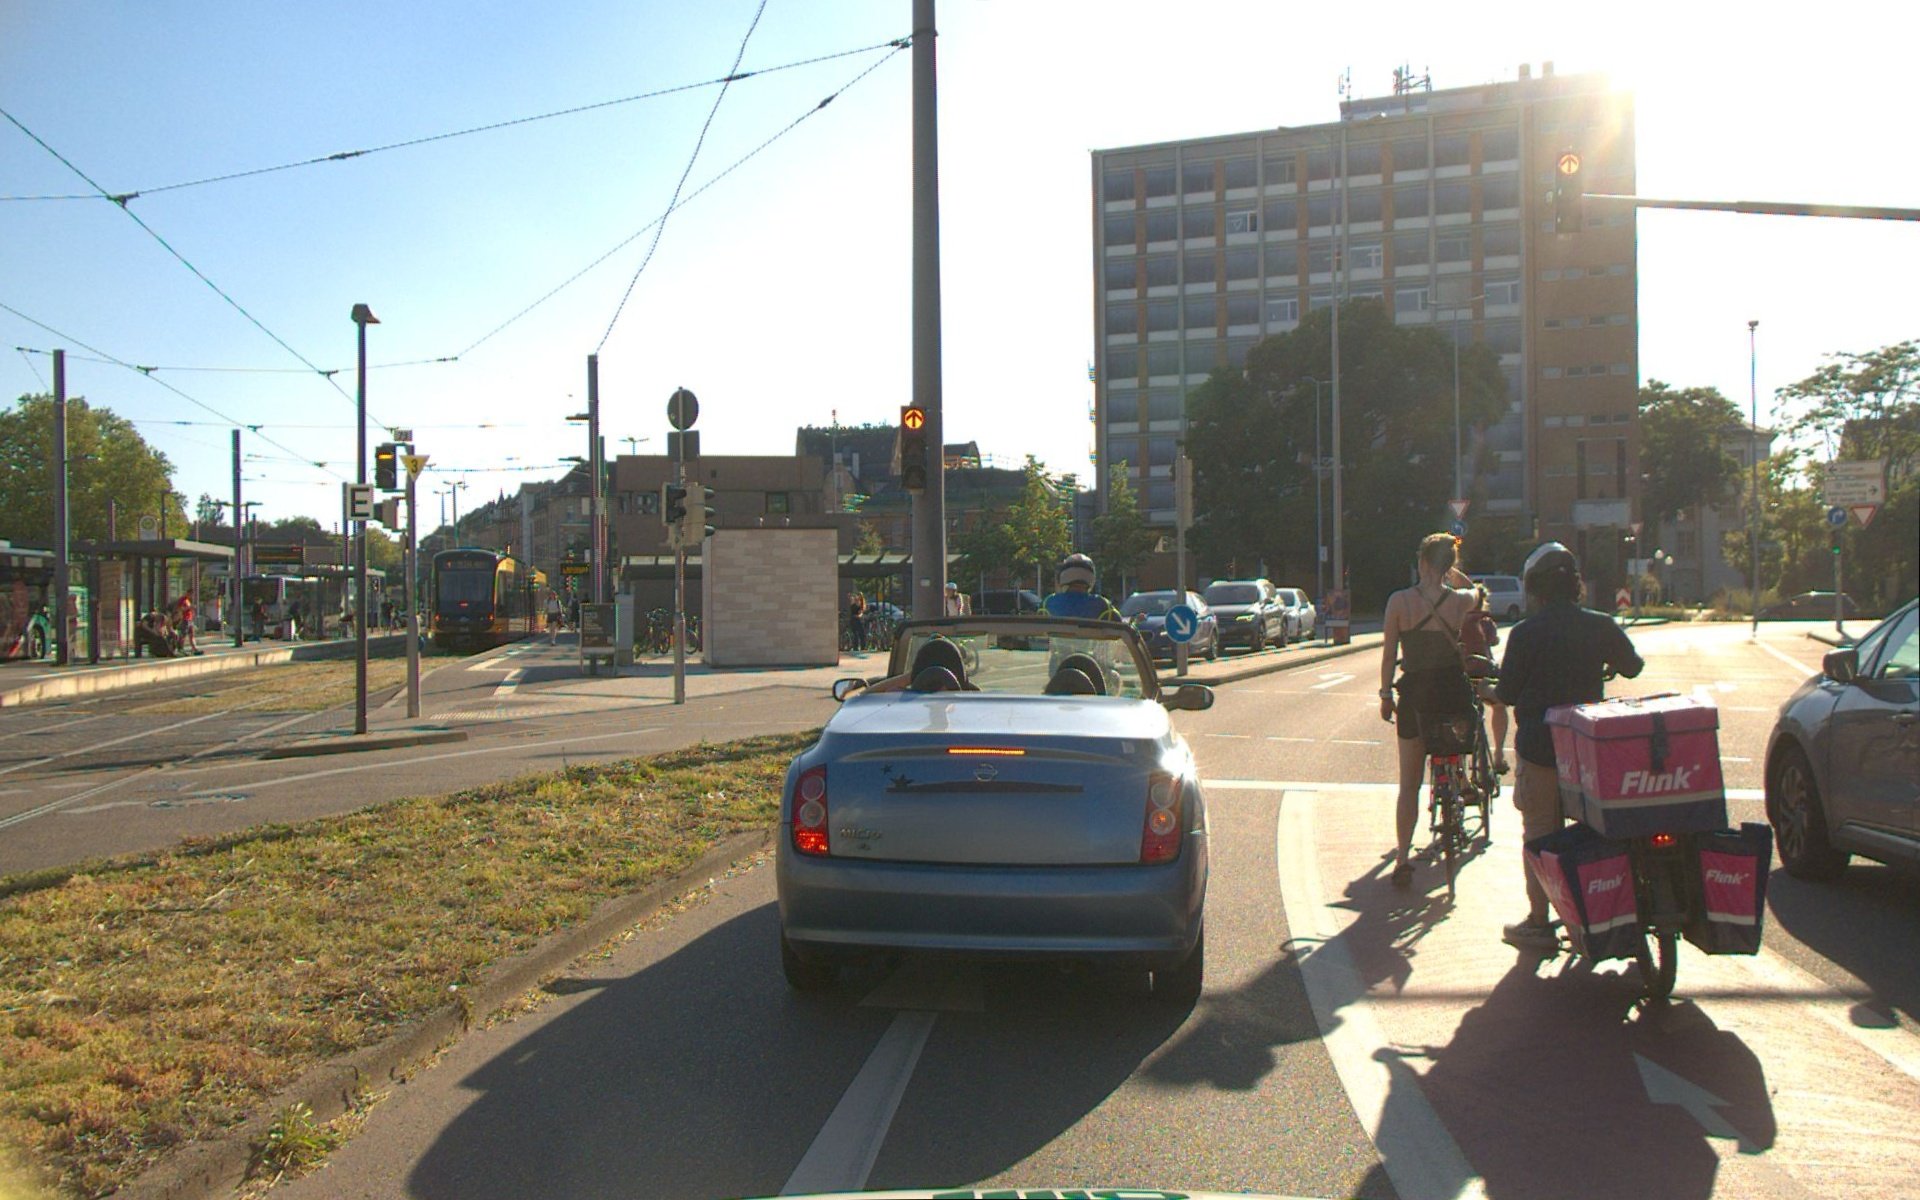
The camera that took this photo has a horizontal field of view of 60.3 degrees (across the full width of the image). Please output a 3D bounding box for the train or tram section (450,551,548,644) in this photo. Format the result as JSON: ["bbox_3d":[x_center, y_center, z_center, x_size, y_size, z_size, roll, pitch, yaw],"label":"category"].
[{"bbox_3d":[-19.980,-0.081,72.359,2.957,3.659,12.169,1,0,-10],"label":"train or tram section"}]

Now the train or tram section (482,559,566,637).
[{"bbox_3d":[-22.045,-0.067,84.254,2.984,3.659,12.024,1,0,-10],"label":"train or tram section"}]

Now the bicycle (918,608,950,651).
[{"bbox_3d":[-0.730,0.809,45.535,0.595,1.134,1.892,1,0,-10],"label":"bicycle"}]

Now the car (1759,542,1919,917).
[{"bbox_3d":[5.285,0.607,7.396,1.792,1.719,4.372,1,0,8],"label":"car"}]

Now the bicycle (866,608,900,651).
[{"bbox_3d":[-2.110,0.784,45.212,0.596,1.134,1.890,1,0,-13],"label":"bicycle"}]

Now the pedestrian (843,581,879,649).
[{"bbox_3d":[-2.789,0.426,46.705,0.885,1.901,0.685,1,-1,-13],"label":"pedestrian"}]

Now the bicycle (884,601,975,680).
[{"bbox_3d":[-0.504,0.677,28.826,0.660,1.272,2.457,-3,-1,21],"label":"bicycle"}]

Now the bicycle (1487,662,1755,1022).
[{"bbox_3d":[2.728,0.901,7.071,0.542,1.192,2.374,1,0,9],"label":"bicycle"}]

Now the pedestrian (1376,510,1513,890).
[{"bbox_3d":[2.560,0.500,8.807,0.645,1.901,0.873,1,-1,14],"label":"pedestrian"}]

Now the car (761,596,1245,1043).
[{"bbox_3d":[0.355,0.747,7.678,1.625,1.466,4.157,1,0,6],"label":"car"}]

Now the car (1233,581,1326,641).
[{"bbox_3d":[9.012,0.282,46.455,1.661,1.588,3.977,-1,0,25],"label":"car"}]

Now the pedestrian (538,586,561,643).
[{"bbox_3d":[-12.864,0.450,51.868,0.628,1.779,0.569,-1,0,-19],"label":"pedestrian"}]

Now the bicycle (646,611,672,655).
[{"bbox_3d":[-7.992,0.861,43.927,0.596,1.134,1.890,1,0,-13],"label":"bicycle"}]

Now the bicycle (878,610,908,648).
[{"bbox_3d":[-2.088,0.887,51.218,0.596,1.134,1.890,1,0,-13],"label":"bicycle"}]

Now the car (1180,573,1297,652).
[{"bbox_3d":[6.756,0.268,39.815,1.726,1.736,4.529,-2,-1,23],"label":"car"}]

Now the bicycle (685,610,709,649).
[{"bbox_3d":[-7.979,0.895,50.195,0.596,1.134,1.890,1,0,-13],"label":"bicycle"}]

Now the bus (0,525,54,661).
[{"bbox_3d":[-23.561,-0.176,37.167,2.606,3.190,9.619,1,0,-10],"label":"bus"}]

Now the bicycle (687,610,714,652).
[{"bbox_3d":[-7.279,0.863,46.332,0.596,1.134,1.890,1,0,-13],"label":"bicycle"}]

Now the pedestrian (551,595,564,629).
[{"bbox_3d":[-21.789,0.651,89.576,0.593,1.779,0.830,-1,0,-8],"label":"pedestrian"}]

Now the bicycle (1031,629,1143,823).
[{"bbox_3d":[0.953,0.831,11.895,0.595,1.212,2.416,1,0,9],"label":"bicycle"}]

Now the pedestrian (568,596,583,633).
[{"bbox_3d":[-18.448,0.687,79.305,0.628,1.779,0.732,-1,0,-19],"label":"pedestrian"}]

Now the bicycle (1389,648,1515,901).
[{"bbox_3d":[2.638,0.870,8.995,0.552,1.171,1.951,1,0,14],"label":"bicycle"}]

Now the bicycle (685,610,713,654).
[{"bbox_3d":[-6.989,0.846,44.273,0.596,1.134,1.890,1,0,-13],"label":"bicycle"}]

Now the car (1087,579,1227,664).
[{"bbox_3d":[4.072,0.426,33.681,1.702,1.601,3.921,1,0,25],"label":"car"}]

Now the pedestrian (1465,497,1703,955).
[{"bbox_3d":[2.763,0.523,7.423,0.789,1.901,0.957,1,-1,8],"label":"pedestrian"}]

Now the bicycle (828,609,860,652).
[{"bbox_3d":[-3.162,0.825,45.054,0.596,1.134,1.890,1,0,-13],"label":"bicycle"}]

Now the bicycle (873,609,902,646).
[{"bbox_3d":[-2.337,0.868,53.186,0.596,1.134,1.890,1,0,-13],"label":"bicycle"}]

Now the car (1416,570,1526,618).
[{"bbox_3d":[21.920,-0.276,70.867,4.643,1.979,1.895,-1,0,-31],"label":"car"}]

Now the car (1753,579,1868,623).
[{"bbox_3d":[39.602,0.051,77.068,4.606,1.979,1.910,-1,0,33],"label":"car"}]

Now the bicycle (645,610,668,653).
[{"bbox_3d":[-8.424,0.862,45.845,0.596,1.134,1.891,1,0,-11],"label":"bicycle"}]

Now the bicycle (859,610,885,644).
[{"bbox_3d":[-3.020,0.912,56.681,0.596,1.134,1.890,1,0,-13],"label":"bicycle"}]

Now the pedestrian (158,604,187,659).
[{"bbox_3d":[-20.252,0.804,42.545,0.561,1.369,0.637,-1,0,-17],"label":"pedestrian"}]

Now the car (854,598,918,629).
[{"bbox_3d":[-3.984,0.742,88.608,1.629,1.588,3.549,-1,0,-39],"label":"car"}]

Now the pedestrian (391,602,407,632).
[{"bbox_3d":[-33.720,1.022,99.420,0.720,1.779,0.638,-1,0,-8],"label":"pedestrian"}]

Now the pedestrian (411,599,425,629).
[{"bbox_3d":[-32.415,0.826,98.956,0.722,1.779,0.637,-1,0,-16],"label":"pedestrian"}]

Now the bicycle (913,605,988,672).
[{"bbox_3d":[-0.155,0.712,31.444,0.660,1.201,2.183,-1,0,21],"label":"bicycle"}]

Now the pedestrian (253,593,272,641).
[{"bbox_3d":[-26.572,0.644,63.002,0.630,1.779,0.567,-1,0,-27],"label":"pedestrian"}]

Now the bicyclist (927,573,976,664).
[{"bbox_3d":[-0.155,0.349,31.472,0.694,1.686,0.743,-1,0,21],"label":"bicyclist"}]

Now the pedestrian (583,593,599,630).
[{"bbox_3d":[-17.831,0.560,79.899,0.628,1.779,0.732,-1,0,-19],"label":"pedestrian"}]

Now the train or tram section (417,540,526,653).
[{"bbox_3d":[-17.646,-0.103,60.405,2.831,3.659,12.161,1,0,-12],"label":"train or tram section"}]

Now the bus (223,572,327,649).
[{"bbox_3d":[-32.734,0.470,79.551,2.675,3.331,13.413,1,0,-14],"label":"bus"}]

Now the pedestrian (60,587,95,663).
[{"bbox_3d":[-20.972,0.592,39.316,0.527,1.779,0.559,-1,0,-6],"label":"pedestrian"}]

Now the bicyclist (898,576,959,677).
[{"bbox_3d":[-0.543,0.457,28.758,0.694,1.686,0.901,-3,-1,21],"label":"bicyclist"}]

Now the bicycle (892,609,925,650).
[{"bbox_3d":[-1.495,0.832,47.540,0.596,1.134,1.890,1,0,-13],"label":"bicycle"}]

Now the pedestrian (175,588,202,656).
[{"bbox_3d":[-20.706,0.584,44.403,0.561,1.779,0.637,-1,0,-17],"label":"pedestrian"}]

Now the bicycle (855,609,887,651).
[{"bbox_3d":[-2.559,0.844,47.136,0.596,1.134,1.890,1,0,-13],"label":"bicycle"}]

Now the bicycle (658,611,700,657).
[{"bbox_3d":[-7.184,0.858,42.335,0.594,1.134,1.898,1,0,5],"label":"bicycle"}]

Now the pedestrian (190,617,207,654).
[{"bbox_3d":[-37.493,1.747,81.456,0.627,1.779,0.570,-1,0,-13],"label":"pedestrian"}]

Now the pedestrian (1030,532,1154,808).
[{"bbox_3d":[0.969,0.486,11.964,0.815,1.901,0.921,1,-1,8],"label":"pedestrian"}]

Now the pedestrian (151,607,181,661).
[{"bbox_3d":[-20.094,0.858,41.865,0.606,1.364,0.438,-1,0,-18],"label":"pedestrian"}]

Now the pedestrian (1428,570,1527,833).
[{"bbox_3d":[3.381,0.631,10.848,0.575,1.626,1.025,1,-1,16],"label":"pedestrian"}]

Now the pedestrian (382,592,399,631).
[{"bbox_3d":[-25.706,0.519,74.665,0.630,1.779,0.567,-1,0,-27],"label":"pedestrian"}]

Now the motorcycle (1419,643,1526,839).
[{"bbox_3d":[3.419,0.874,11.110,0.600,1.117,2.361,1,0,16],"label":"motorcycle"}]
